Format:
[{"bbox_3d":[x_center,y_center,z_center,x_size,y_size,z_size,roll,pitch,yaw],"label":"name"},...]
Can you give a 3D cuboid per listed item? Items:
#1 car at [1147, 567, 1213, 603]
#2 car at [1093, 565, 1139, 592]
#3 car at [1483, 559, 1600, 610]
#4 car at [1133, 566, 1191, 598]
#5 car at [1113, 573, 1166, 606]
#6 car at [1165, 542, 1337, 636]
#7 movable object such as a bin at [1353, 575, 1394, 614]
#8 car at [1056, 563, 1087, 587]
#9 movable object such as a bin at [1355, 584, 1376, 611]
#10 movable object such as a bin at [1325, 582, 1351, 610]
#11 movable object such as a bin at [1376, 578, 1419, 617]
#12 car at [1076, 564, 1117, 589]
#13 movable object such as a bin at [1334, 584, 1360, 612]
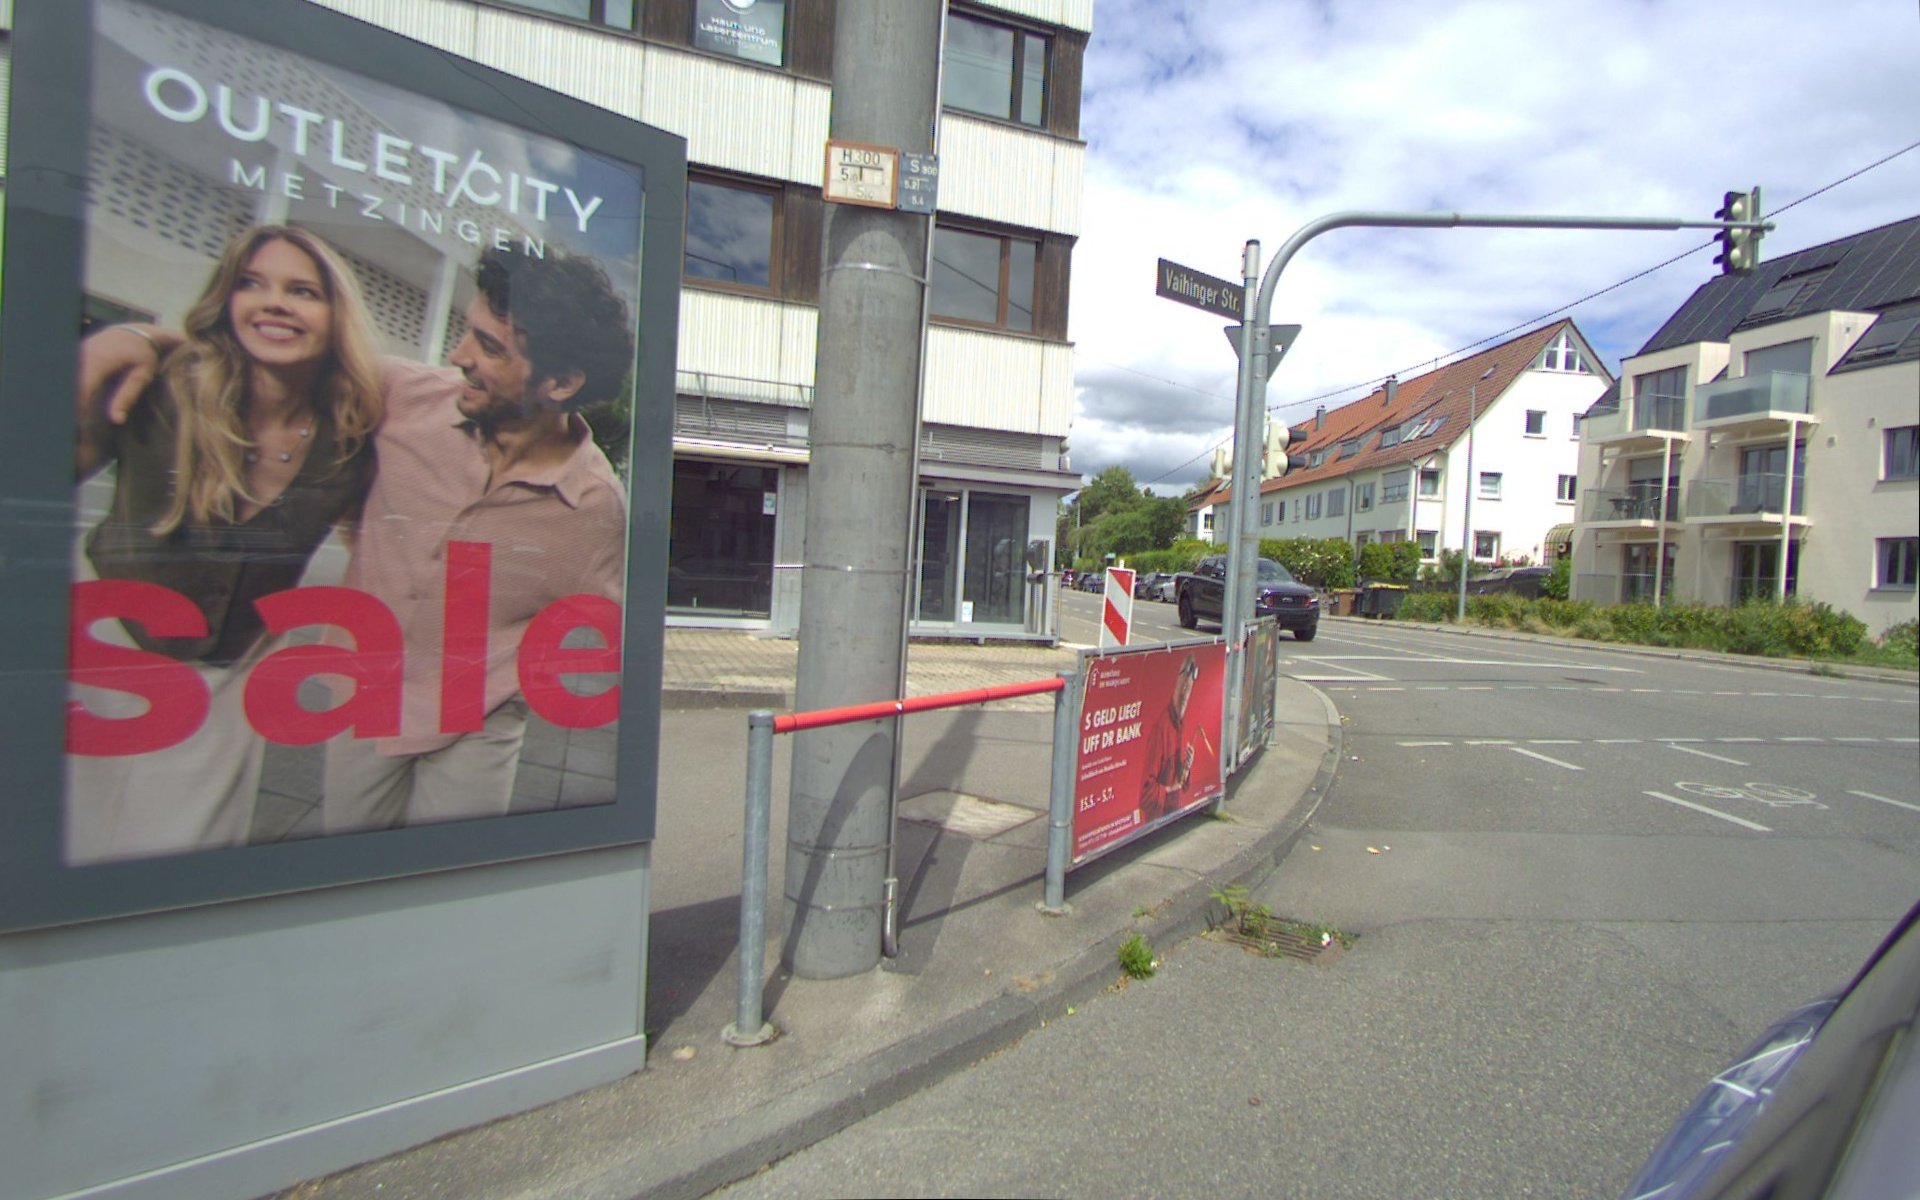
[{"bbox_3d":[11.148,-0.823,51.677,1.960,1.653,4.460,2,2,-6],"label":"car"},{"bbox_3d":[10.413,-1.445,67.922,1.960,1.653,4.242,2,2,-6],"label":"car"},{"bbox_3d":[25.631,-0.703,44.703,3.920,2.038,2.003,2,2,-5],"label":"car"},{"bbox_3d":[11.258,-1.034,56.755,1.960,1.653,4.242,2,2,-6],"label":"car"},{"bbox_3d":[10.988,-0.669,62.328,1.961,1.652,4.242,8,1,-6],"label":"car"},{"bbox_3d":[6.544,-0.326,23.521,1.850,1.872,5.230,2,2,-7],"label":"car"},{"bbox_3d":[16.227,-0.232,39.720,1.071,1.464,0.982,2,2,-5],"label":"movable object such as a bin"},{"bbox_3d":[9.568,-2.190,87.075,1.961,1.938,4.073,2,2,-3],"label":"car"},{"bbox_3d":[16.276,-0.097,40.645,0.645,1.078,0.522,1,2,-44],"label":"movable object such as a bin"},{"bbox_3d":[15.511,-0.175,41.548,0.750,1.078,0.692,2,2,2],"label":"movable object such as a bin"},{"bbox_3d":[16.442,-0.099,38.048,1.071,1.379,0.982,2,2,-5],"label":"movable object such as a bin"},{"bbox_3d":[9.864,-1.726,73.320,1.960,1.653,4.242,2,2,-6],"label":"car"},{"bbox_3d":[15.578,-0.094,40.732,0.750,1.078,0.692,2,2,2],"label":"movable object such as a bin"}]
